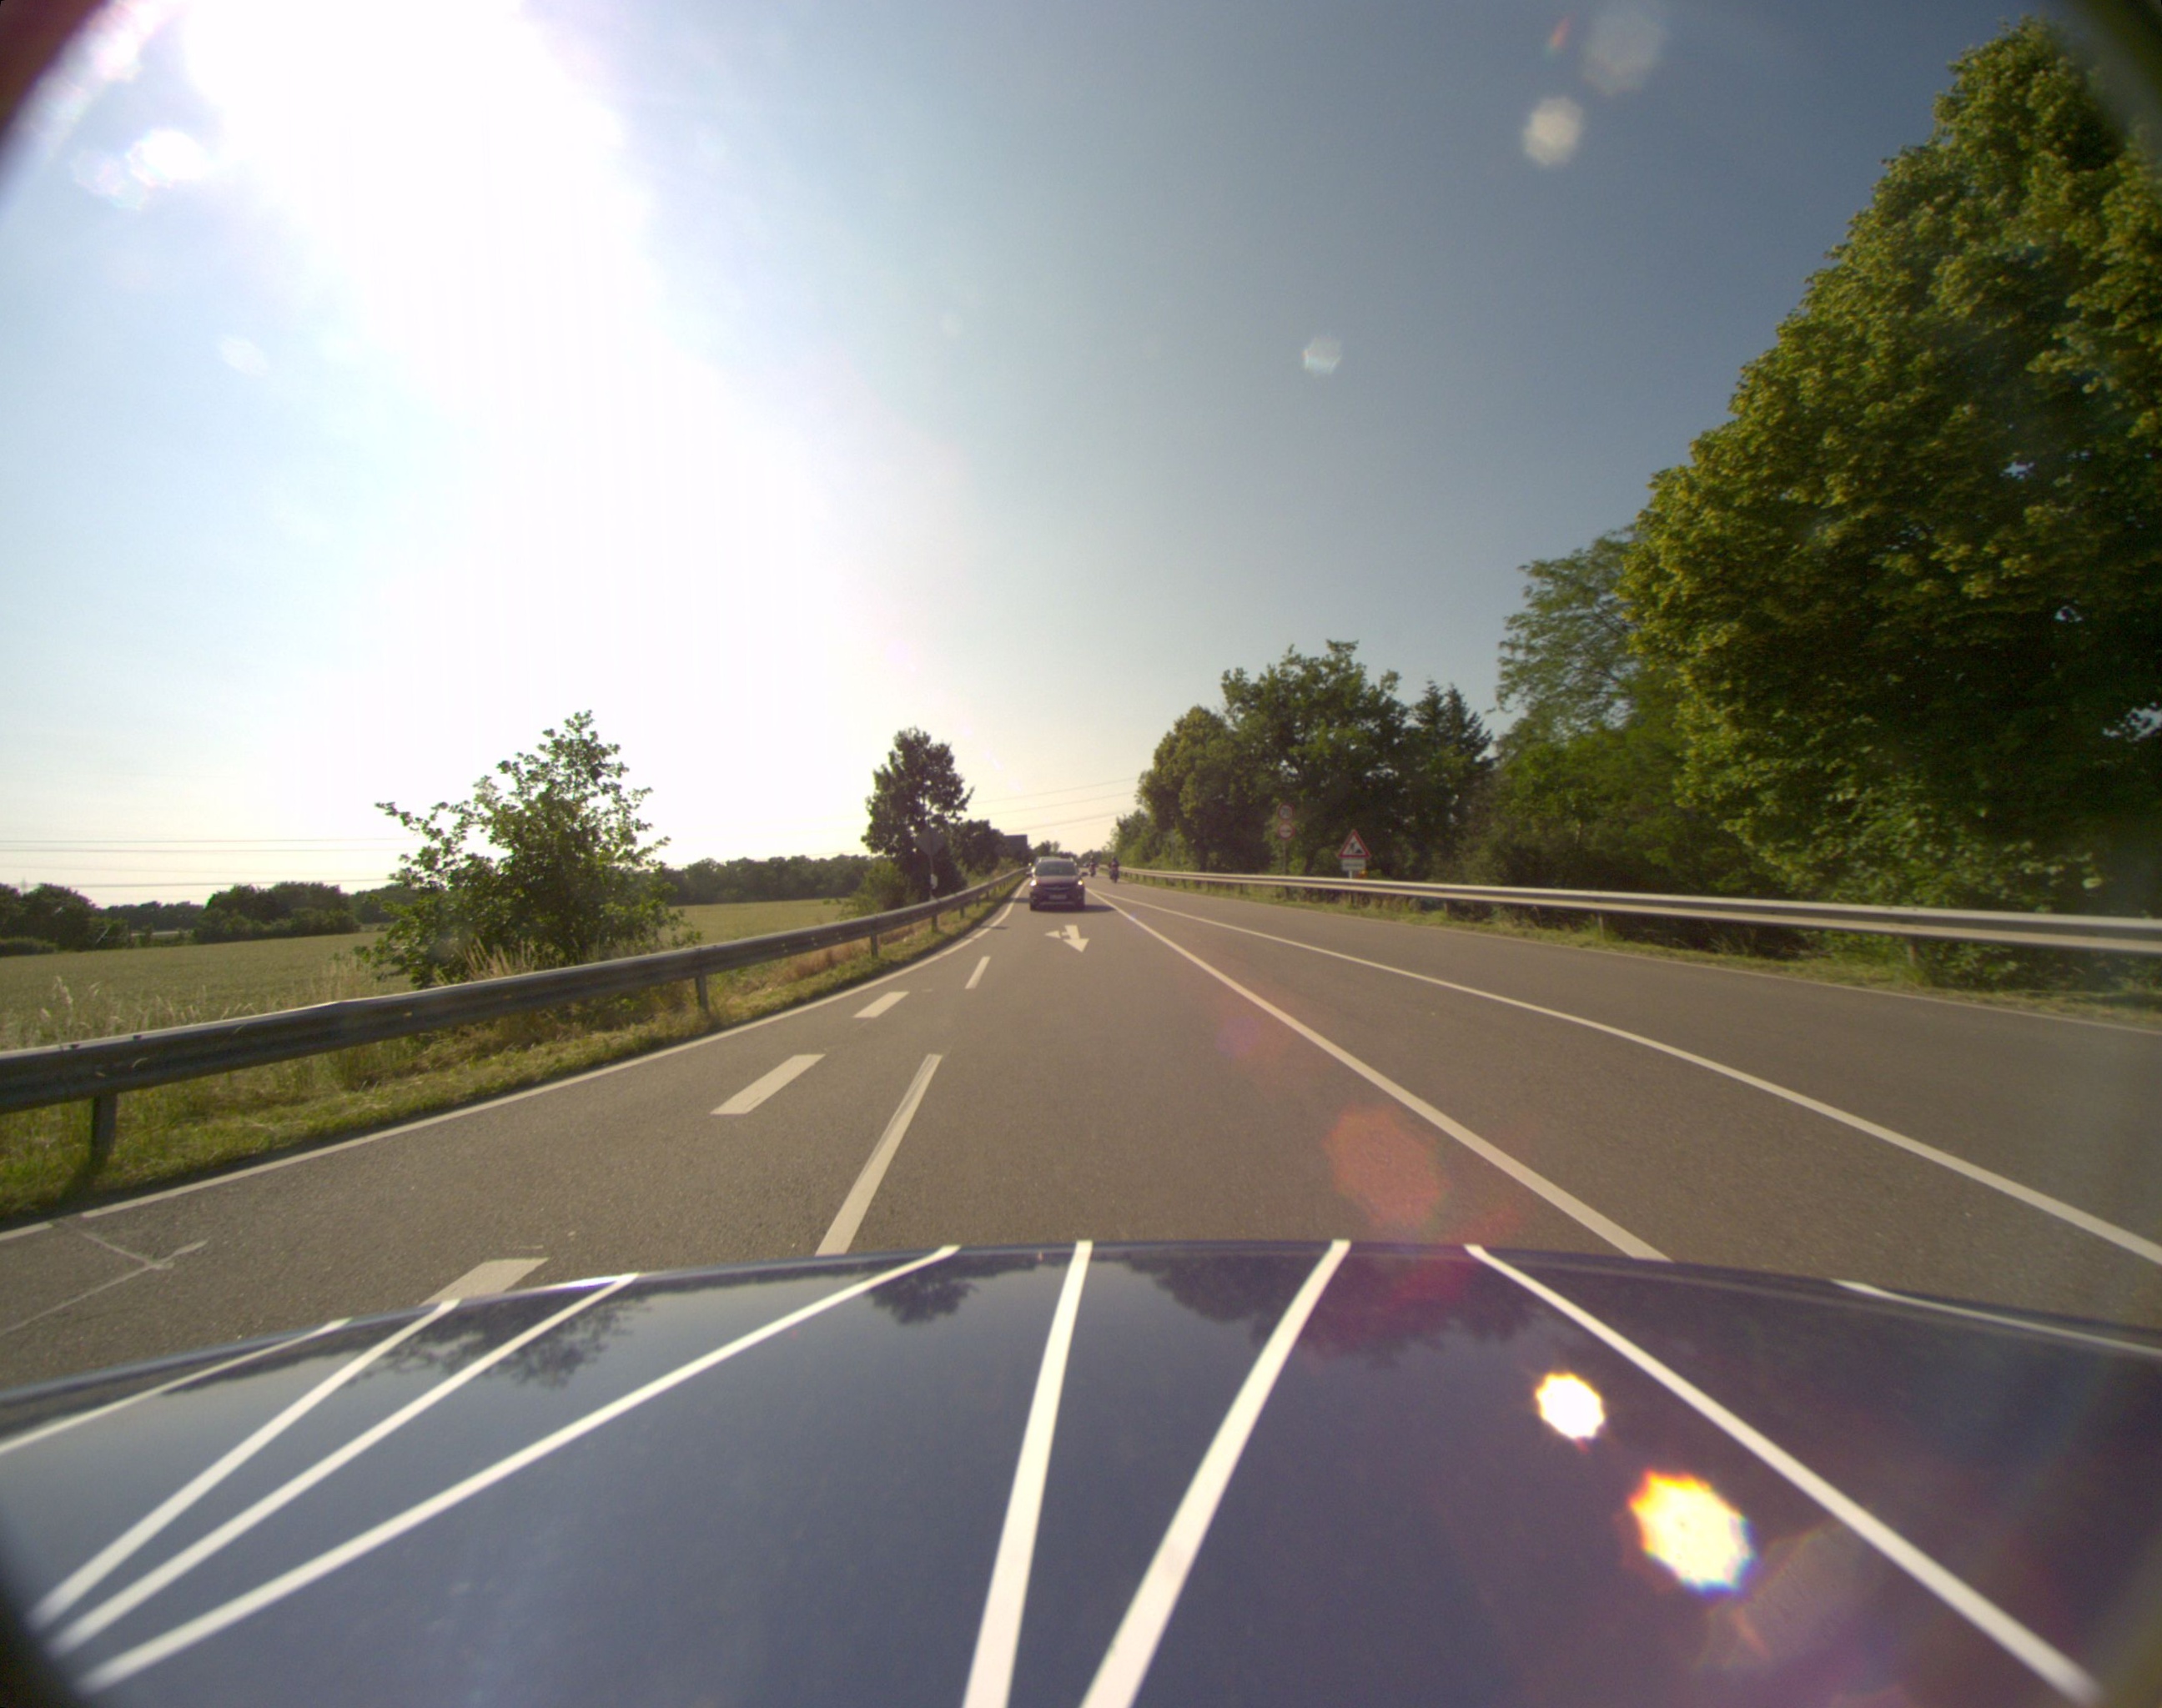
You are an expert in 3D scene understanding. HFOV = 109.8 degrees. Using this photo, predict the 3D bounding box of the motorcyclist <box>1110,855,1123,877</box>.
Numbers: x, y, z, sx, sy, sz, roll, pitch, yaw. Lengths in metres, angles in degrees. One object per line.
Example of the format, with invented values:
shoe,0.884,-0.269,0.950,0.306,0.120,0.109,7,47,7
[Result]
motorcyclist,2.228,0.741,48.086,0.701,1.399,0.979,0,0,-4

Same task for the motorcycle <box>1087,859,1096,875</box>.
motorcycle,0.857,1.057,62.214,0.719,1.243,2.078,0,0,-1

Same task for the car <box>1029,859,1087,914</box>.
car,-0.643,0.938,23.530,1.607,1.486,4.000,-1,0,1

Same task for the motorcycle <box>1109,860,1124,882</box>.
motorcycle,2.222,1.066,48.140,0.719,1.301,2.180,0,0,-4

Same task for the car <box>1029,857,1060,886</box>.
car,-1.960,0.940,41.975,1.607,1.486,3.999,-1,0,-1
